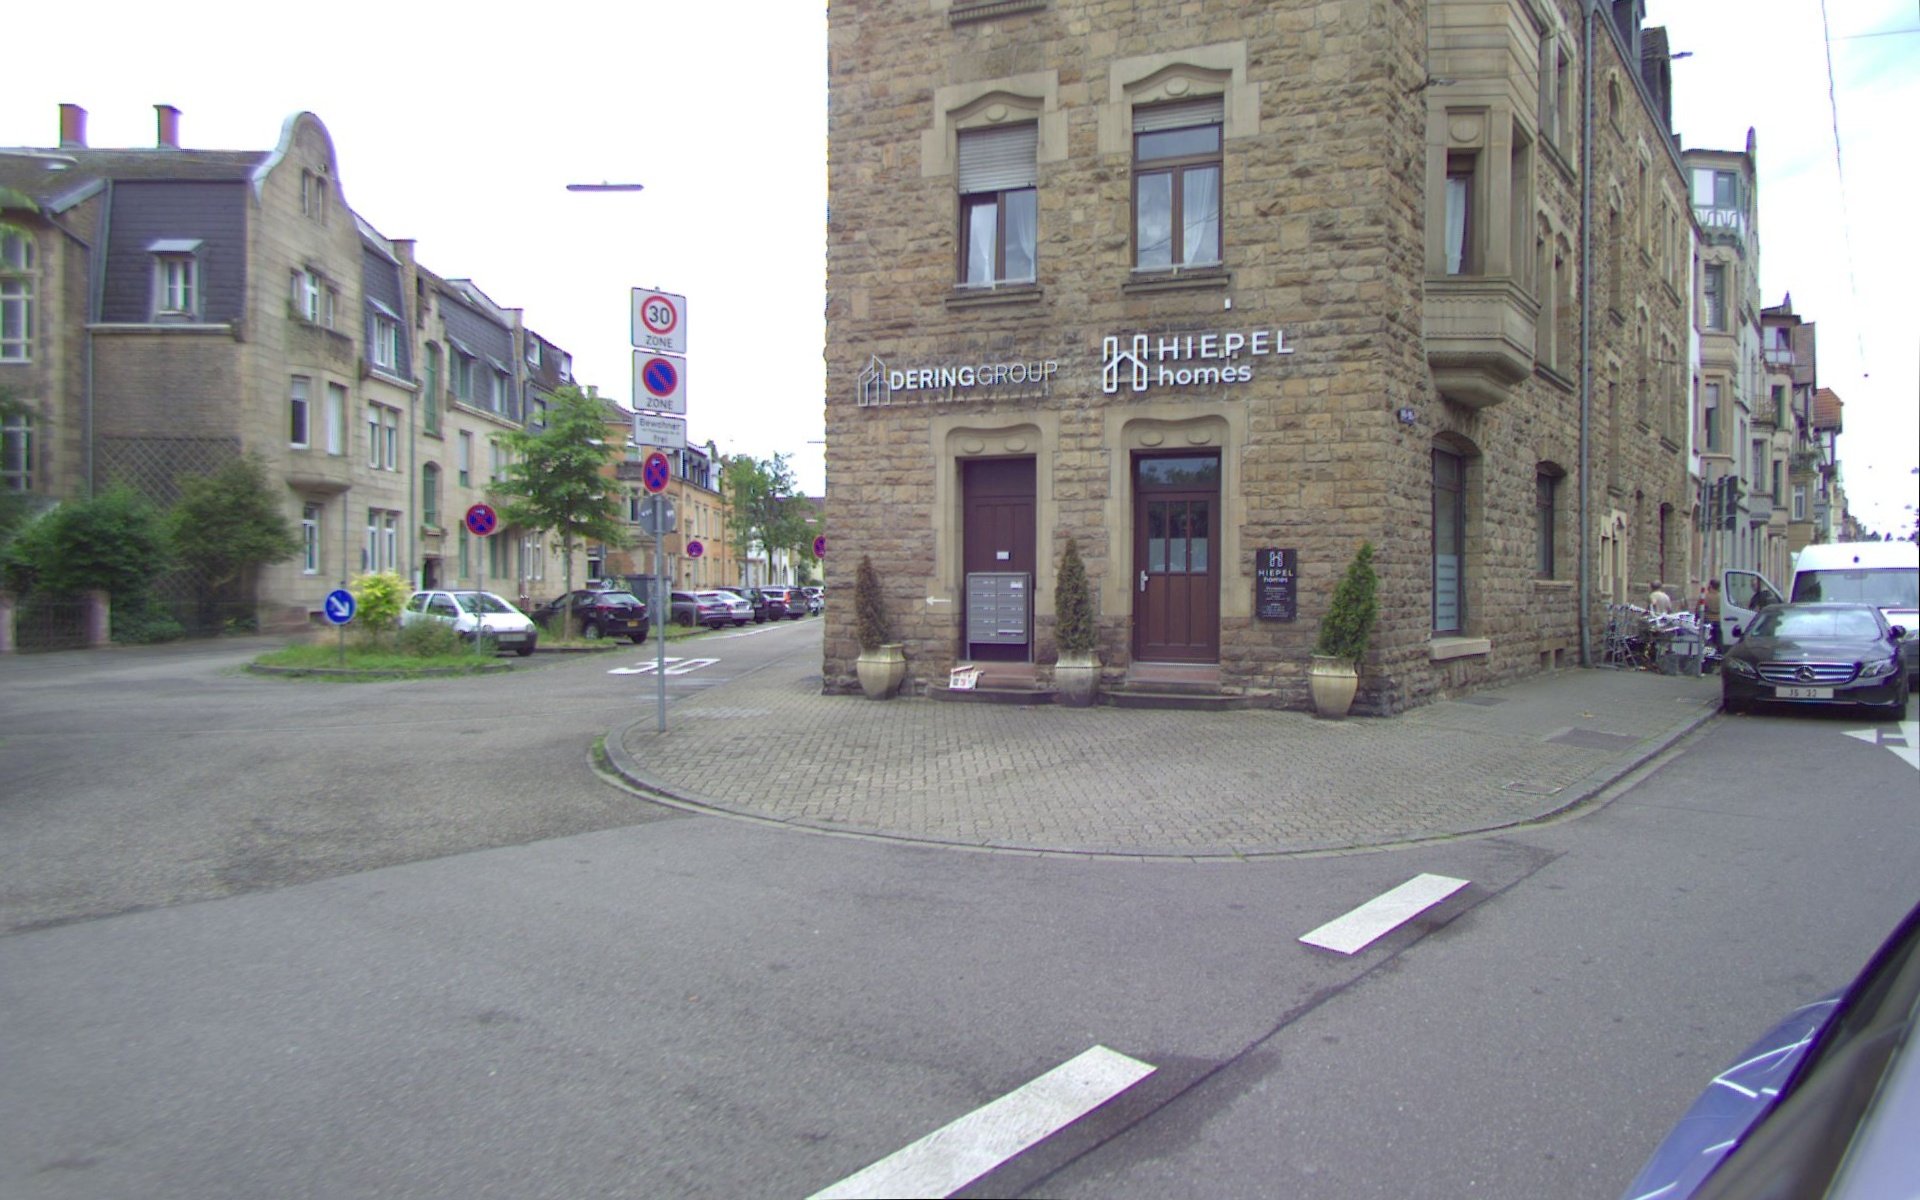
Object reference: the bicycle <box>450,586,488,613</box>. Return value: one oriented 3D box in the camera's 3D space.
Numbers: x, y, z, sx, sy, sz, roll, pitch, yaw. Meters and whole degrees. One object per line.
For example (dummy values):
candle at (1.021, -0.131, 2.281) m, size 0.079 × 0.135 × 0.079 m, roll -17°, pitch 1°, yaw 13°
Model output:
bicycle at (-19.261, -0.029, 39.727) m, size 0.558 × 1.015 × 1.777 m, roll 0°, pitch 1°, yaw 4°

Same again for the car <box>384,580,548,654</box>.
car at (-10.967, 0.315, 22.442) m, size 3.516 × 1.451 × 1.688 m, roll 2°, pitch 2°, yaw 32°

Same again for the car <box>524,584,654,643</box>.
car at (-10.302, 0.322, 28.026) m, size 3.520 × 1.451 × 1.686 m, roll 2°, pitch 2°, yaw 35°

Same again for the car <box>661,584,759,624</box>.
car at (-10.166, 0.125, 40.994) m, size 4.022 × 1.451 × 1.732 m, roll 3°, pitch 2°, yaw 38°

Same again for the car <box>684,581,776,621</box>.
car at (-10.076, 0.007, 44.223) m, size 4.022 × 1.551 × 1.732 m, roll 3°, pitch 2°, yaw 38°

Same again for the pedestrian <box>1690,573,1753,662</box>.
pedestrian at (15.197, 0.334, 20.220) m, size 0.858 × 1.721 × 0.532 m, roll 3°, pitch 2°, yaw 30°

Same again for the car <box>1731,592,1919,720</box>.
car at (12.345, 0.641, 14.224) m, size 1.824 × 1.468 × 4.927 m, roll -1°, pitch 0°, yaw 44°

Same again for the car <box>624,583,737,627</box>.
car at (-10.448, 0.144, 37.776) m, size 4.009 × 1.451 × 1.737 m, roll 2°, pitch 2°, yaw 29°

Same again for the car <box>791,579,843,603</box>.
car at (-9.673, -0.612, 68.131) m, size 1.851 × 1.529 × 4.044 m, roll 0°, pitch 1°, yaw -35°

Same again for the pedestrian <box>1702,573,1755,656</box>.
pedestrian at (16.456, 0.294, 21.672) m, size 0.695 × 1.721 × 0.490 m, roll 2°, pitch 2°, yaw 16°

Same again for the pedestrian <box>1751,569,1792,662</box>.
pedestrian at (16.516, 0.302, 20.590) m, size 0.499 × 1.837 × 0.790 m, roll 3°, pitch 2°, yaw 45°

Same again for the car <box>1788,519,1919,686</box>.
car at (16.898, 0.010, 18.583) m, size 2.013 × 2.581 × 6.905 m, roll -2°, pitch -1°, yaw 44°

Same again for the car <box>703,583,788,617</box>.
car at (-10.134, -0.032, 47.714) m, size 4.022 × 1.451 × 1.732 m, roll 3°, pitch 2°, yaw 38°

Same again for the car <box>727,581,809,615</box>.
car at (-9.622, -0.143, 50.646) m, size 4.022 × 1.529 × 1.862 m, roll 3°, pitch 2°, yaw 38°
